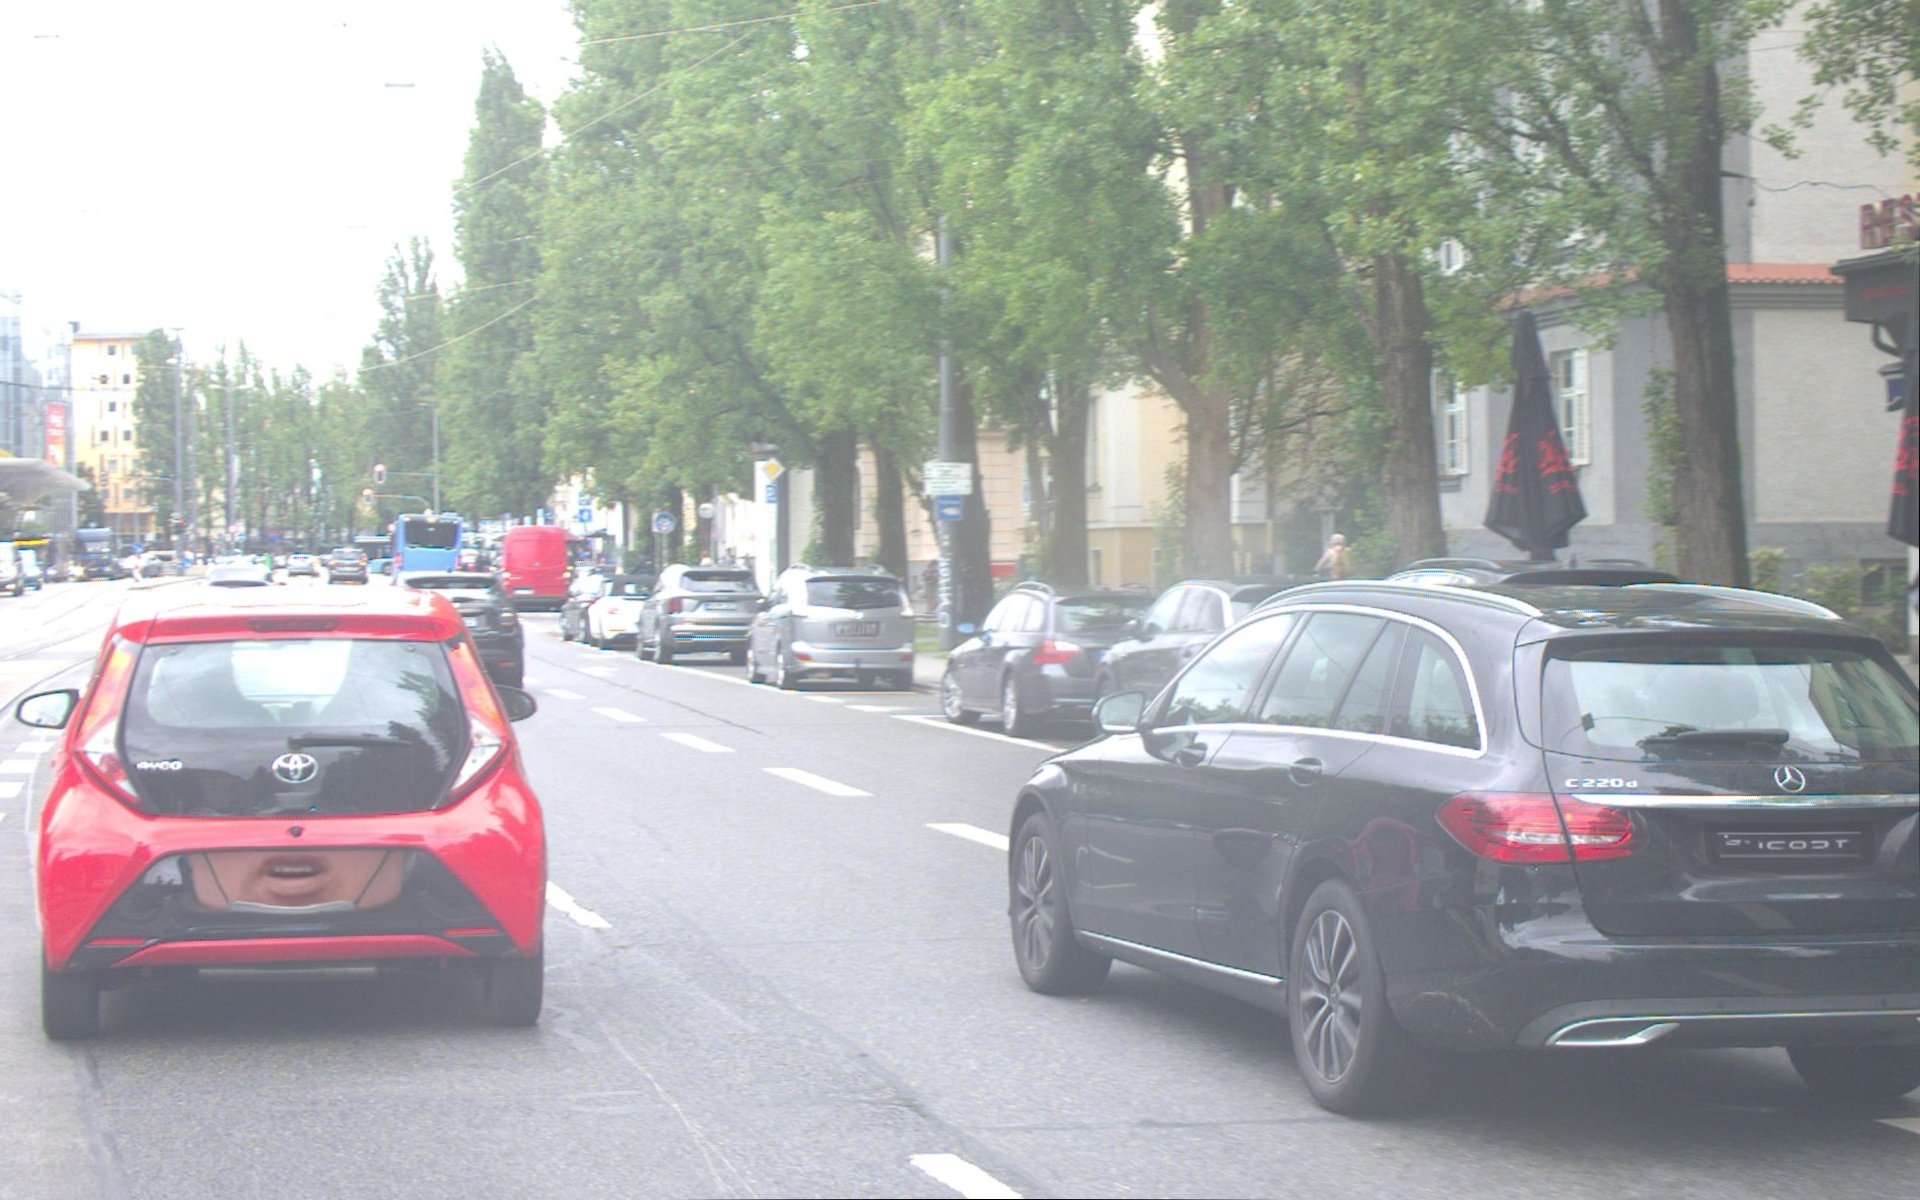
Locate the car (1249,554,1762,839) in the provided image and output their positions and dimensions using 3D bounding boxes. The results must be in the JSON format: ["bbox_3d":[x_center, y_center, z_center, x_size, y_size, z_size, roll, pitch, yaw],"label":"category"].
[{"bbox_3d":[3.353,0.526,22.066,1.720,1.607,4.472,-1,1,-12],"label":"car"}]

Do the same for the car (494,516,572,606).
[{"bbox_3d":[-12.847,-1.207,103.252,1.993,2.565,4.681,0,2,-11],"label":"car"}]

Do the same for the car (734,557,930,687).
[{"bbox_3d":[-1.760,0.251,45.677,1.799,1.607,4.548,-1,1,-12],"label":"car"}]

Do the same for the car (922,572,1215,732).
[{"bbox_3d":[0.963,0.448,33.187,1.799,1.394,4.383,-1,1,-12],"label":"car"}]

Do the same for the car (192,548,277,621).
[{"bbox_3d":[-15.913,-0.360,75.557,1.735,1.544,4.578,-1,1,-11],"label":"car"}]

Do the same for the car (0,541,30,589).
[{"bbox_3d":[-34.192,-1.224,122.119,1.799,1.659,4.520,-3,1,-10],"label":"car"}]

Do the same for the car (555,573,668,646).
[{"bbox_3d":[-7.585,0.182,74.583,1.799,1.503,4.451,-1,1,-14],"label":"car"}]

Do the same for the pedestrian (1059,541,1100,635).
[{"bbox_3d":[2.256,-0.234,64.758,0.591,1.732,0.824,0,2,-11],"label":"pedestrian"}]

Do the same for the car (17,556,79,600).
[{"bbox_3d":[-36.176,-0.880,136.430,1.799,1.659,4.520,-3,1,-8],"label":"car"}]

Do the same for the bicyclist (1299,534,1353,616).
[{"bbox_3d":[5.922,-0.404,55.662,0.660,1.310,0.706,-1,1,-13],"label":"bicyclist"}]

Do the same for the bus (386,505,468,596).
[{"bbox_3d":[-21.729,-2.093,139.741,2.905,3.384,10.809,0,2,-11],"label":"bus"}]

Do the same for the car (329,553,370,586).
[{"bbox_3d":[-28.346,-1.410,159.614,1.780,1.481,4.001,-1,1,-11],"label":"car"}]

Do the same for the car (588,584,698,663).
[{"bbox_3d":[-6.407,0.444,69.077,1.799,1.503,4.001,-1,1,-11],"label":"car"}]

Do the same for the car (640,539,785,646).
[{"bbox_3d":[-4.297,-0.145,59.045,1.799,1.737,4.702,-1,1,-12],"label":"car"}]

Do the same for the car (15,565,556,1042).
[{"bbox_3d":[-2.464,0.606,12.252,1.628,1.435,3.377,0,1,-14],"label":"car"}]

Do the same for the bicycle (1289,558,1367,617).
[{"bbox_3d":[5.940,-0.211,55.569,0.652,0.920,1.903,-1,1,-13],"label":"bicycle"}]

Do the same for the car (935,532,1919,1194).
[{"bbox_3d":[1.452,0.584,10.765,1.863,1.544,4.705,-1,2,-16],"label":"car"}]

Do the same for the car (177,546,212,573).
[{"bbox_3d":[-43.198,-2.268,194.004,1.780,1.481,4.001,-1,1,-11],"label":"car"}]

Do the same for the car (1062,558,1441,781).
[{"bbox_3d":[2.218,0.480,27.405,1.799,1.607,4.306,-1,1,-12],"label":"car"}]

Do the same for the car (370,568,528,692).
[{"bbox_3d":[-6.490,0.340,43.374,1.780,1.481,4.001,-1,1,-11],"label":"car"}]

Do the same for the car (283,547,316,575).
[{"bbox_3d":[-42.628,-2.518,221.990,1.804,1.591,4.000,0,-2,-7],"label":"car"}]
